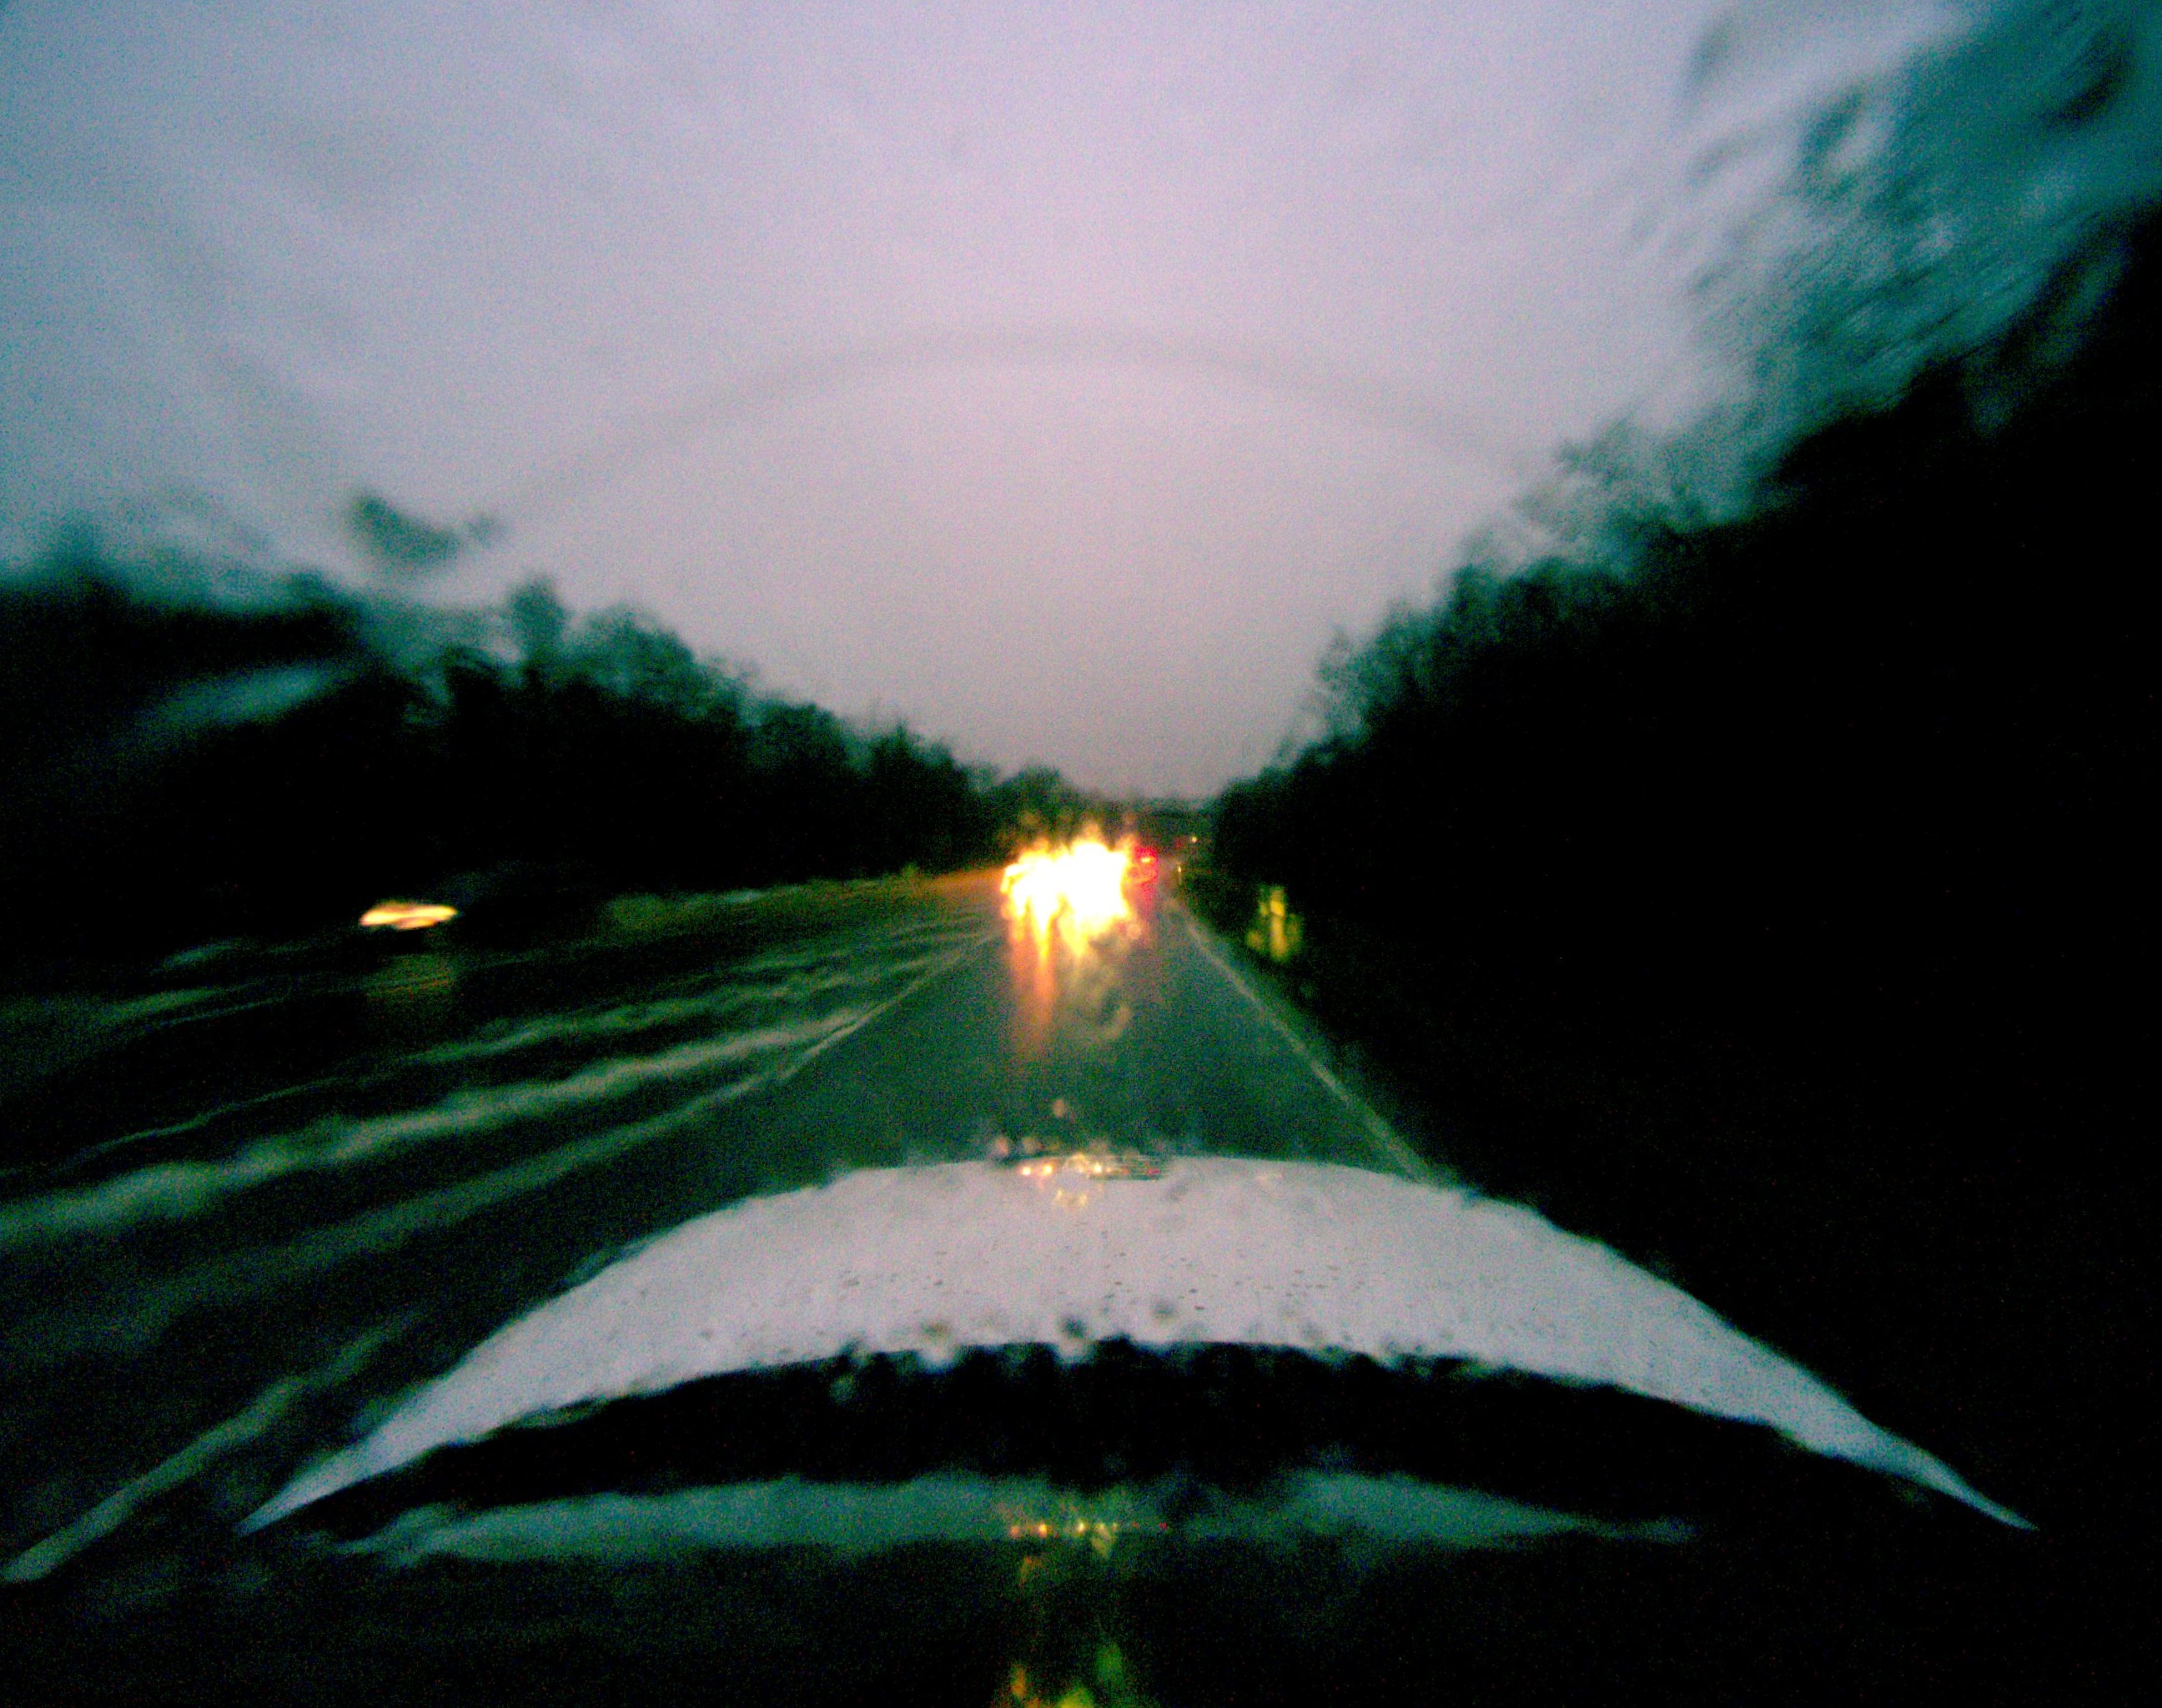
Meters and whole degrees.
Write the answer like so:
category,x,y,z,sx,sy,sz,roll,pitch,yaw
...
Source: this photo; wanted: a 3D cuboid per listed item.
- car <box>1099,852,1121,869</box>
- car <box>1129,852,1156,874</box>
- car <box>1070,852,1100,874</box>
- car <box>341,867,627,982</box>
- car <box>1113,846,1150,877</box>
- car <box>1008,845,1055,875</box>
category,x,y,z,sx,sy,sz,roll,pitch,yaw
car,3.033,0.677,84.060,1.850,1.647,4.477,-2,-1,7
car,4.980,0.692,65.540,1.668,1.675,4.109,-2,0,10
car,0.364,0.680,65.775,1.892,1.648,4.737,-1,1,7
car,-12.009,1.286,16.760,1.821,1.970,4.383,-1,0,25
car,2.580,0.352,41.137,1.670,1.389,4.104,-2,0,5
car,-2.768,0.293,46.606,1.813,1.523,4.308,-3,1,8
